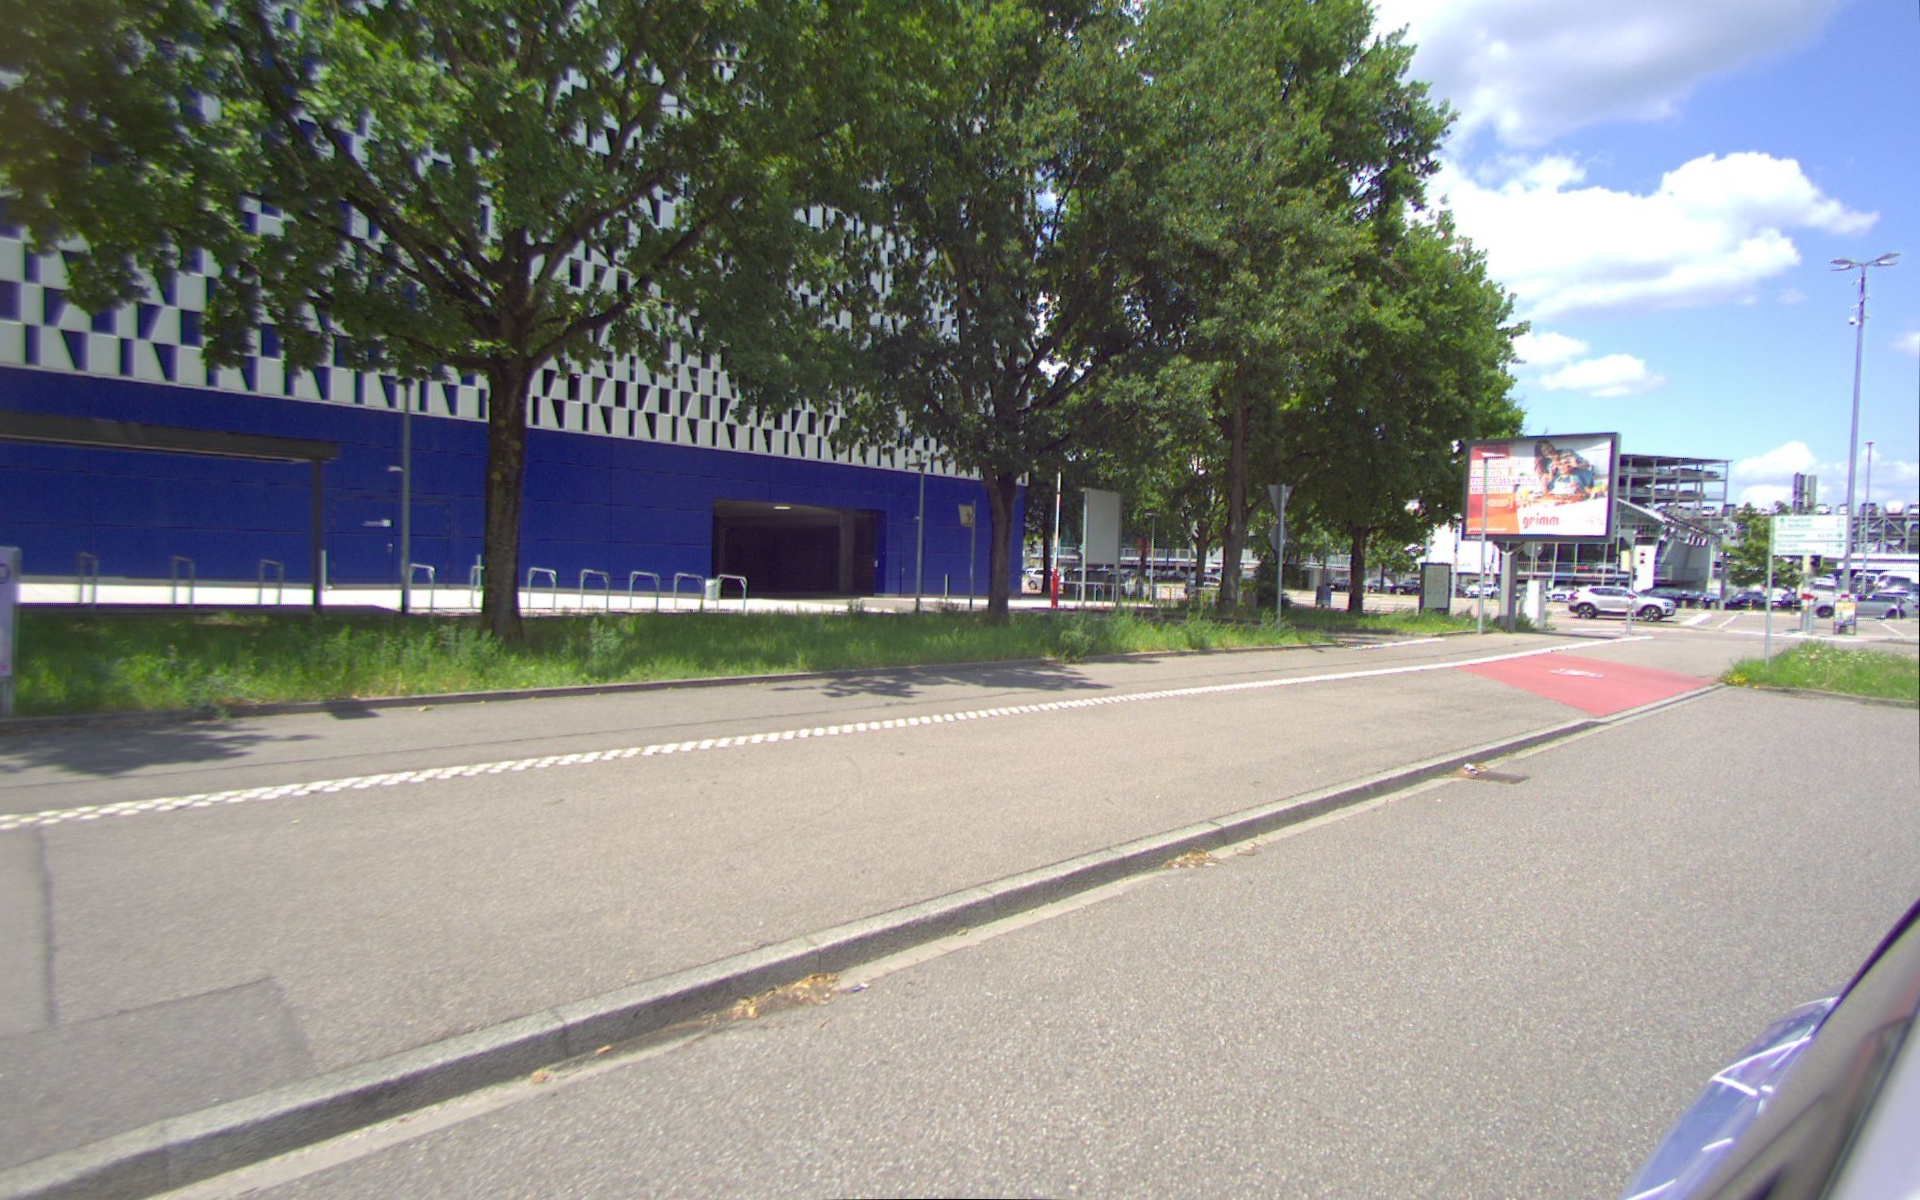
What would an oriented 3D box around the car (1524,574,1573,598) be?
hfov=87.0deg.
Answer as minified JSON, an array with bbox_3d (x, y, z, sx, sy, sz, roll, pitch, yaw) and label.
[{"bbox_3d":[43.855,-1.029,75.371,3.928,1.593,1.841,1,3,-40],"label":"car"}]

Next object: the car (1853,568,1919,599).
[{"bbox_3d":[59.613,-1.008,64.485,3.987,1.804,1.969,4,3,43],"label":"car"}]

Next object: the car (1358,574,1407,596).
[{"bbox_3d":[34.002,-1.195,81.361,3.924,1.571,1.798,1,2,-36],"label":"car"}]

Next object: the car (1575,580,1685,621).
[{"bbox_3d":[32.369,-0.027,48.972,4.177,1.749,1.835,3,4,43],"label":"car"}]

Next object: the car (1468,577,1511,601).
[{"bbox_3d":[39.848,-0.817,76.075,1.858,1.749,3.700,3,2,44],"label":"car"}]

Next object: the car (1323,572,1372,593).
[{"bbox_3d":[31.942,-1.441,83.388,3.924,1.571,1.798,1,2,-36],"label":"car"}]

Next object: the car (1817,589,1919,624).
[{"bbox_3d":[49.732,0.336,55.008,4.678,1.651,1.972,4,3,38],"label":"car"}]

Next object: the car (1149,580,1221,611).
[{"bbox_3d":[14.212,-0.296,63.923,3.975,1.712,1.835,4,2,35],"label":"car"}]

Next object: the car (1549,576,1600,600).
[{"bbox_3d":[43.994,-0.838,72.430,3.928,1.593,1.841,1,3,-40],"label":"car"}]

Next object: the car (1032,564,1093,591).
[{"bbox_3d":[7.280,-1.612,72.108,3.984,1.712,1.831,4,3,41],"label":"car"}]
